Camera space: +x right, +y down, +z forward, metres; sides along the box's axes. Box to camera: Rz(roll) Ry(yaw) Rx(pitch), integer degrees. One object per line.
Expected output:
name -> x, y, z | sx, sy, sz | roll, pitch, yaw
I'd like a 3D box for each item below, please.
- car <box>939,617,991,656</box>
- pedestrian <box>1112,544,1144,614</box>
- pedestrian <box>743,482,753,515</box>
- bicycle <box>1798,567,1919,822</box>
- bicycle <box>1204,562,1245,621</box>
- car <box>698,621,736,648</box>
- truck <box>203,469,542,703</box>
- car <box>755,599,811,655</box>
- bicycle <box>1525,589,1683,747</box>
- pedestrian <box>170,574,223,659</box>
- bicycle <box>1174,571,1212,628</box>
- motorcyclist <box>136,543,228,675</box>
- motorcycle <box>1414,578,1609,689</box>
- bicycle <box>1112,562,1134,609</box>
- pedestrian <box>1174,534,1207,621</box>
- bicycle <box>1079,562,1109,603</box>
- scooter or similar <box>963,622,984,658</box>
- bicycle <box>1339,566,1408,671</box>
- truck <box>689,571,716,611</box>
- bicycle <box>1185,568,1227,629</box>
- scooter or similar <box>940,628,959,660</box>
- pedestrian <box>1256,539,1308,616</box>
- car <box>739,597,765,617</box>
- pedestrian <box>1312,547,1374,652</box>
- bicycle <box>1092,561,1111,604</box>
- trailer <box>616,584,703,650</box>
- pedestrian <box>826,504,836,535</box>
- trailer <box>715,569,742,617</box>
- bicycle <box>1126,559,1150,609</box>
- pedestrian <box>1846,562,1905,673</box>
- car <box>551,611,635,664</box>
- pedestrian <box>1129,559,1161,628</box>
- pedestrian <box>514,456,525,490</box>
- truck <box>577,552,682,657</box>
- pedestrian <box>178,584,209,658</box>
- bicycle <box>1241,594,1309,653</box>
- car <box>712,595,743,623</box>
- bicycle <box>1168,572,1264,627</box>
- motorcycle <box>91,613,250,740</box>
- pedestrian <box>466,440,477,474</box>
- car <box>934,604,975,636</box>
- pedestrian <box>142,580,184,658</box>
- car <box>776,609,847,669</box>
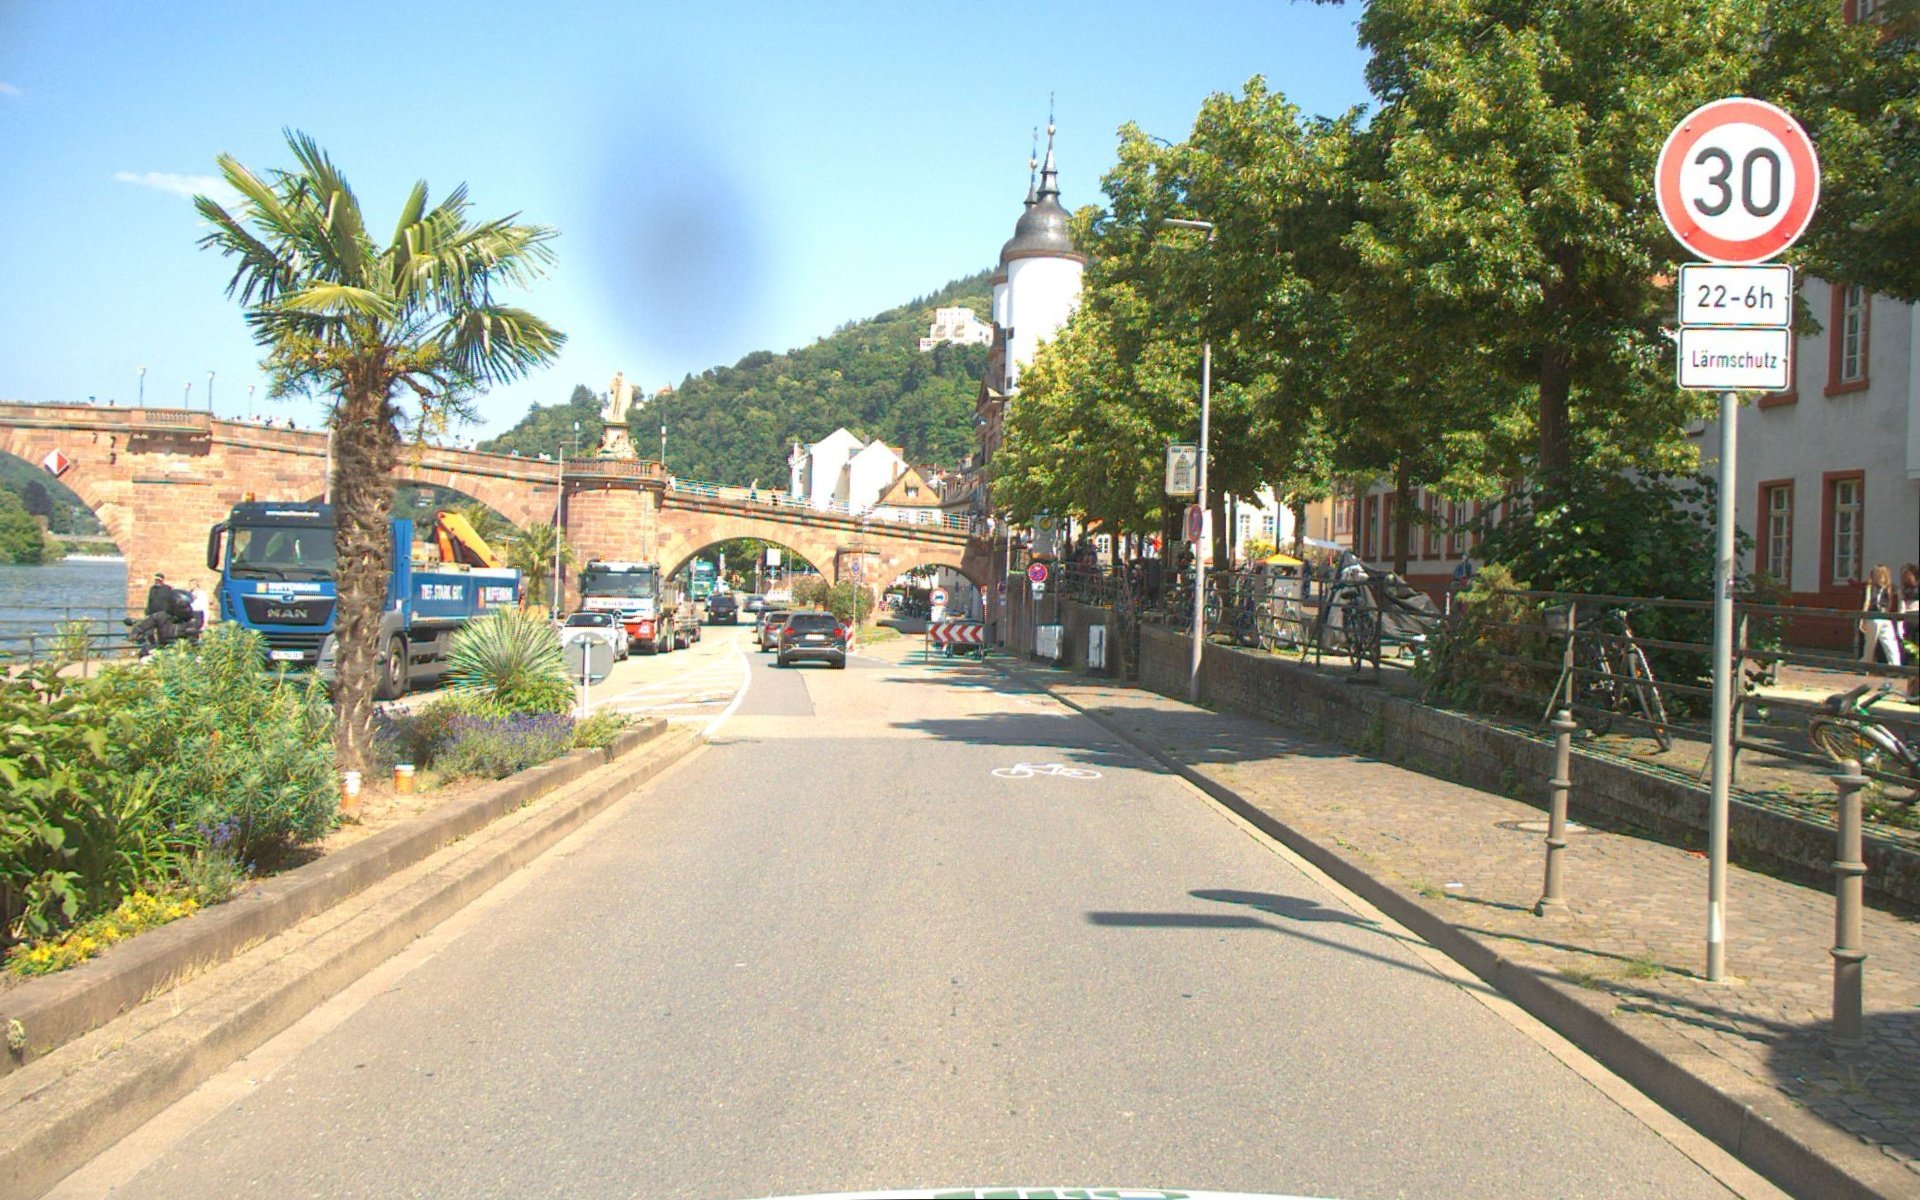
car -> 0.171, 1.448, 67.141 | 1.806, 1.475, 4.532 | 2, -1, -3
pedestrian -> 4.254, -0.516, 41.863 | 0.704, 1.751, 0.573 | 1, -1, -3
pedestrian -> -13.603, -6.488, 106.100 | 0.612, 2.049, 0.694 | 1, -1, -7
bicycle -> 5.059, 0.471, 8.273 | 0.466, 1.284, 2.160 | -1, 0, -5
bicycle -> 5.391, -0.172, 33.786 | 0.374, 1.160, 1.932 | 1, 0, -4
car -> -11.775, 1.663, 80.402 | 1.639, 1.215, 3.624 | 0, 0, -6
truck -> -10.406, -0.196, 30.902 | 2.589, 3.537, 11.103 | 1, 0, -2
car -> -6.682, 0.998, 62.651 | 1.954, 2.049, 3.996 | 1, 0, -5
bicycle -> 4.835, 0.464, 12.541 | 0.295, 1.067, 2.162 | -1, 1, -2
pedestrian -> -15.993, 0.341, 34.668 | 0.697, 1.736, 0.845 | 1, 0, -1
bicycle -> 4.292, -0.024, 30.562 | 0.292, 1.022, 1.858 | 1, 0, -4
motorcyclist -> -9.436, 0.109, 20.078 | 0.687, 1.553, 0.861 | 1, 0, -1
motorcycle -> 5.679, 0.341, 17.045 | 1.881, 1.117, 0.573 | 0, -1, -11
bicycle -> 3.950, -0.342, 40.058 | 0.401, 1.125, 1.735 | 1, 0, 2
pedestrian -> 6.034, -0.583, 43.349 | 0.704, 2.227, 0.711 | 1, -1, -3
bicycle -> 3.732, -0.477, 46.182 | 0.402, 1.125, 1.730 | 1, 0, -10
scooter or similar -> 0.493, 1.434, 59.390 | 0.520, 1.252, 1.272 | 1, -1, 11
bicycle -> 4.720, 0.204, 18.950 | 0.337, 1.132, 1.919 | 1, 0, 1
truck -> -25.540, -0.932, 164.280 | 2.476, 3.813, 6.236 | 0, 1, -8
bicycle -> 4.218, -0.035, 28.417 | 0.292, 1.022, 1.940 | 1, 0, -4
scooter or similar -> -0.379, 1.548, 58.874 | 0.520, 1.109, 1.440 | 1, -1, 6
pedestrian -> 5.454, -0.374, 28.034 | 0.681, 1.287, 0.668 | 1, -1, -7
car -> -17.882, 0.567, 141.936 | 1.823, 1.691, 3.987 | 0, 0, -13
pedestrian -> 5.355, 0.000, 23.150 | 0.654, 1.440, 0.696 | 1, -1, -4
bicycle -> 3.764, -0.451, 44.205 | 0.401, 1.125, 1.735 | 1, 0, 2
trailer -> -12.233, 0.707, 67.785 | 2.644, 2.575, 6.942 | 0, -1, -3
pedestrian -> -8.753, -5.441, 112.213 | 0.671, 2.049, 0.585 | 1, -1, -6
trailer -> -16.491, -0.484, 117.703 | 1.708, 3.378, 3.380 | 0, 0, -5
bicycle -> 4.117, -0.347, 38.374 | 0.401, 1.125, 1.924 | 1, 0, 2
pedestrian -> 13.364, 0.254, 24.141 | 0.458, 1.572, 0.608 | 3, -1, -1
car -> -10.842, 1.100, 49.083 | 1.742, 1.469, 3.995 | 1, -1, -3
pedestrian -> 4.748, -0.161, 42.517 | 0.704, 1.751, 0.573 | 1, -1, -3
pedestrian -> -27.941, -8.058, 104.804 | 0.613, 2.049, 0.693 | 1, -1, -13
truck -> -11.755, 0.185, 59.470 | 2.589, 3.517, 7.865 | 0, -1, -3
pedestrian -> -16.051, 0.442, 34.642 | 0.343, 1.511, 0.414 | 4, -1, -1
bicycle -> 4.403, 0.315, 23.234 | 0.343, 0.797, 1.916 | 1, 0, -7
car -> -15.770, 0.616, 112.408 | 1.838, 1.859, 4.539 | 0, 0, -5
bicycle -> 4.959, -0.007, 32.073 | 1.818, 1.022, 0.298 | 1, 0, -6
motorcycle -> -9.449, 0.868, 19.923 | 0.711, 1.411, 2.511 | 1, 0, -1
pedestrian -> -30.786, -9.019, 104.277 | 0.613, 2.049, 0.693 | 1, -1, -13
car -> -0.284, 0.993, 81.472 | 1.677, 1.483, 3.543 | 2, -1, -5
pedestrian -> -16.747, 0.400, 34.745 | 0.576, 1.584, 0.414 | 4, -1, -1
car -> -4.144, 1.049, 45.795 | 1.821, 1.550, 3.994 | 1, 0, -7
